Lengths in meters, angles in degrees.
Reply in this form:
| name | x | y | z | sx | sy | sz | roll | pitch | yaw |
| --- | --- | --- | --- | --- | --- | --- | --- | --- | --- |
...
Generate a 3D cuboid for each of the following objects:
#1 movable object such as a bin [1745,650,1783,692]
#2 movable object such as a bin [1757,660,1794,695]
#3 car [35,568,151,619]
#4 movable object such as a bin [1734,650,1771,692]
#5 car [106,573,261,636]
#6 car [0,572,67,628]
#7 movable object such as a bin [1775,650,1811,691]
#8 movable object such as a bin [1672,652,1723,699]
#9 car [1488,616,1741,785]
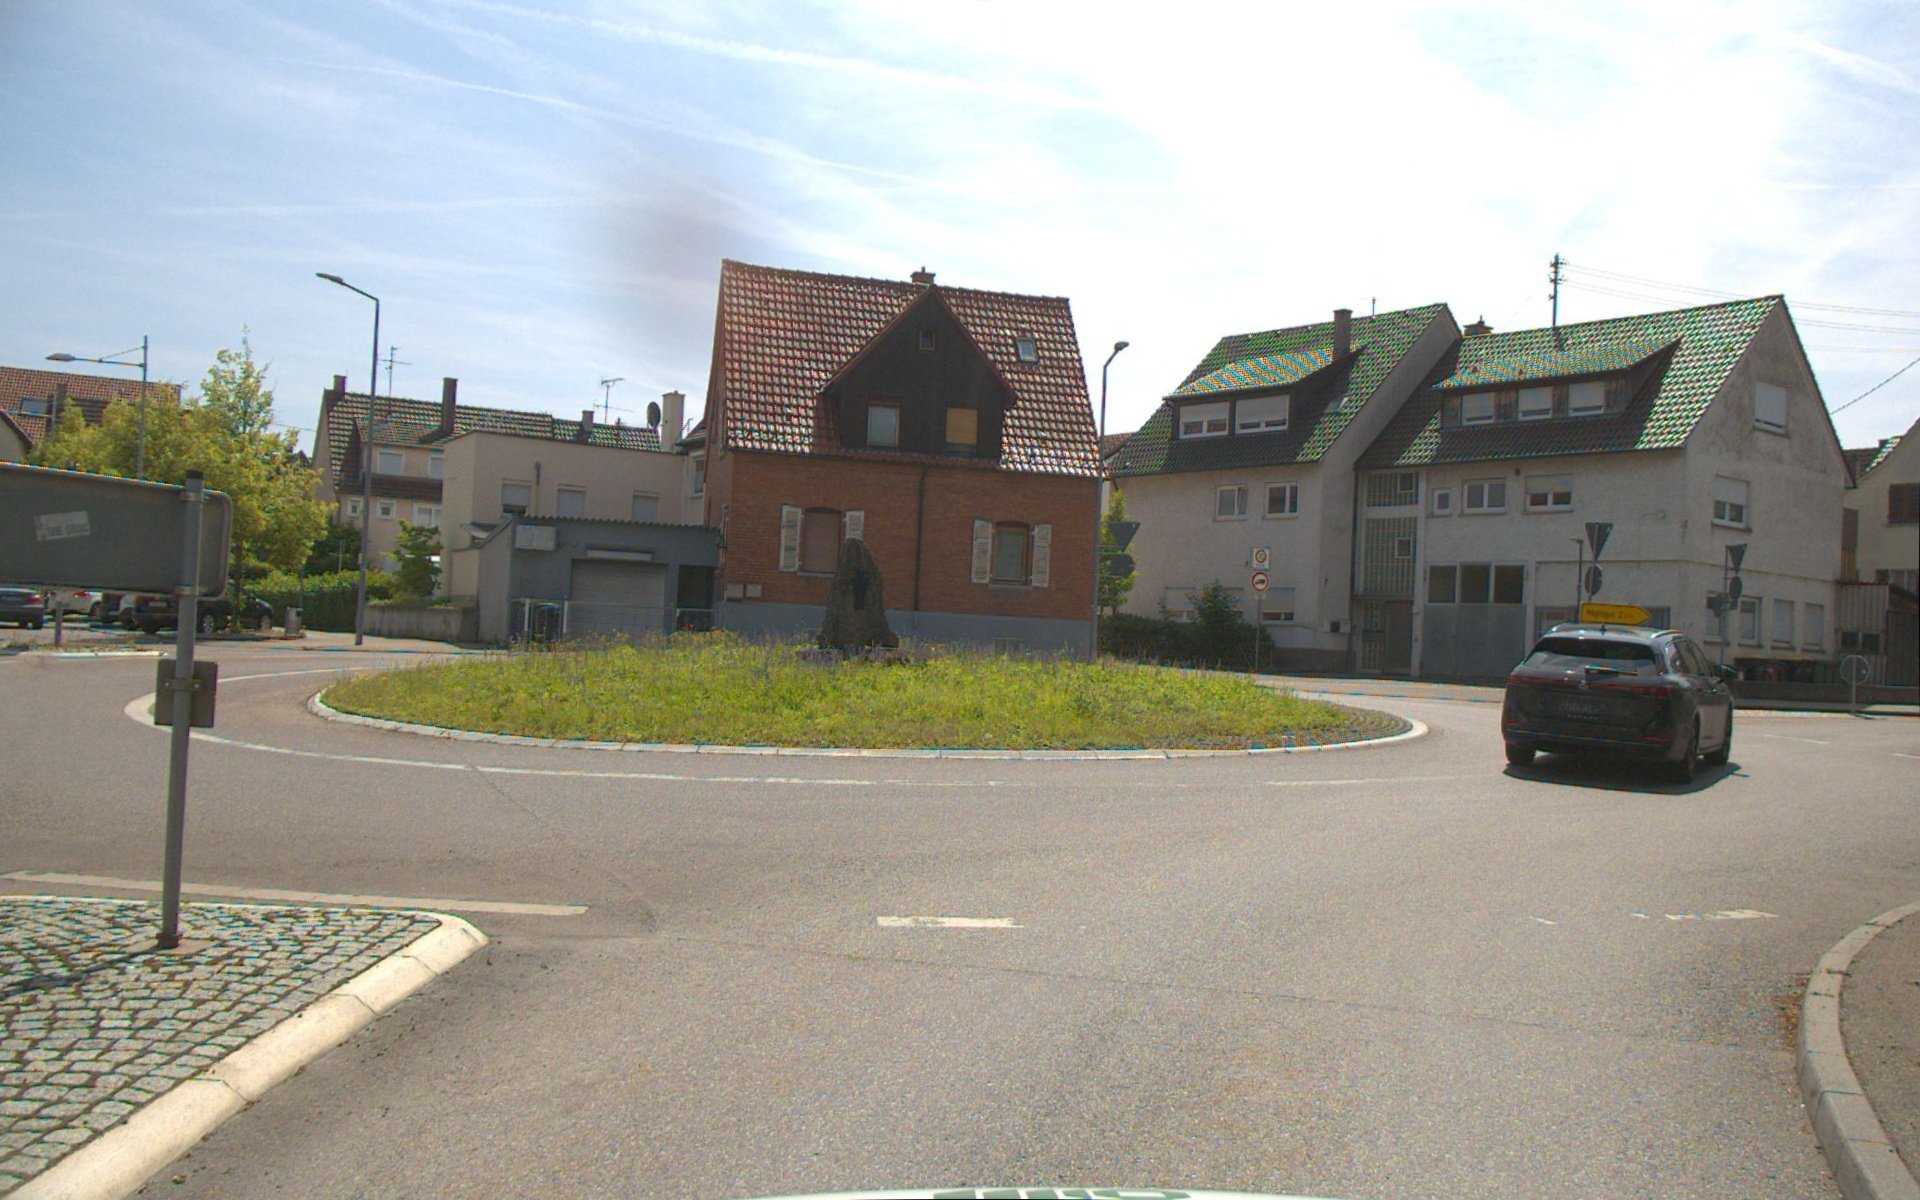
| name | x | y | z | sx | sy | sz | roll | pitch | yaw |
| --- | --- | --- | --- | --- | --- | --- | --- | --- | --- |
| movable object such as a bin | 21.769 | 1.925 | 44.799 | 0.691 | 1.105 | 0.675 | 3 | -1 | -40 |
| movable object such as a bin | 22.321 | 2.113 | 45.260 | 0.691 | 0.912 | 0.675 | 3 | -1 | -40 |
| car | -31.621 | -0.214 | 60.460 | 1.827 | 1.698 | 4.002 | 3 | -1 | 5 |
| movable object such as a bin | 21.249 | 1.904 | 44.353 | 0.639 | 1.105 | 0.675 | 3 | -1 | -40 |
| car | -22.450 | 0.169 | 47.986 | 1.773 | 1.646 | 4.002 | 2 | -1 | 17 |
| car | -26.115 | -0.047 | 44.964 | 4.140 | 1.415 | 1.867 | 2 | -1 | 41 |
| movable object such as a bin | 23.034 | 1.950 | 45.755 | 0.619 | 1.101 | 0.675 | 3 | -1 | -40 |
| movable object such as a bin | 17.677 | 1.799 | 39.671 | 0.808 | 1.063 | 0.810 | 2 | -1 | -3 |
| car | 6.981 | 0.959 | 17.329 | 1.807 | 1.445 | 4.673 | 2 | 0 | 29 |
